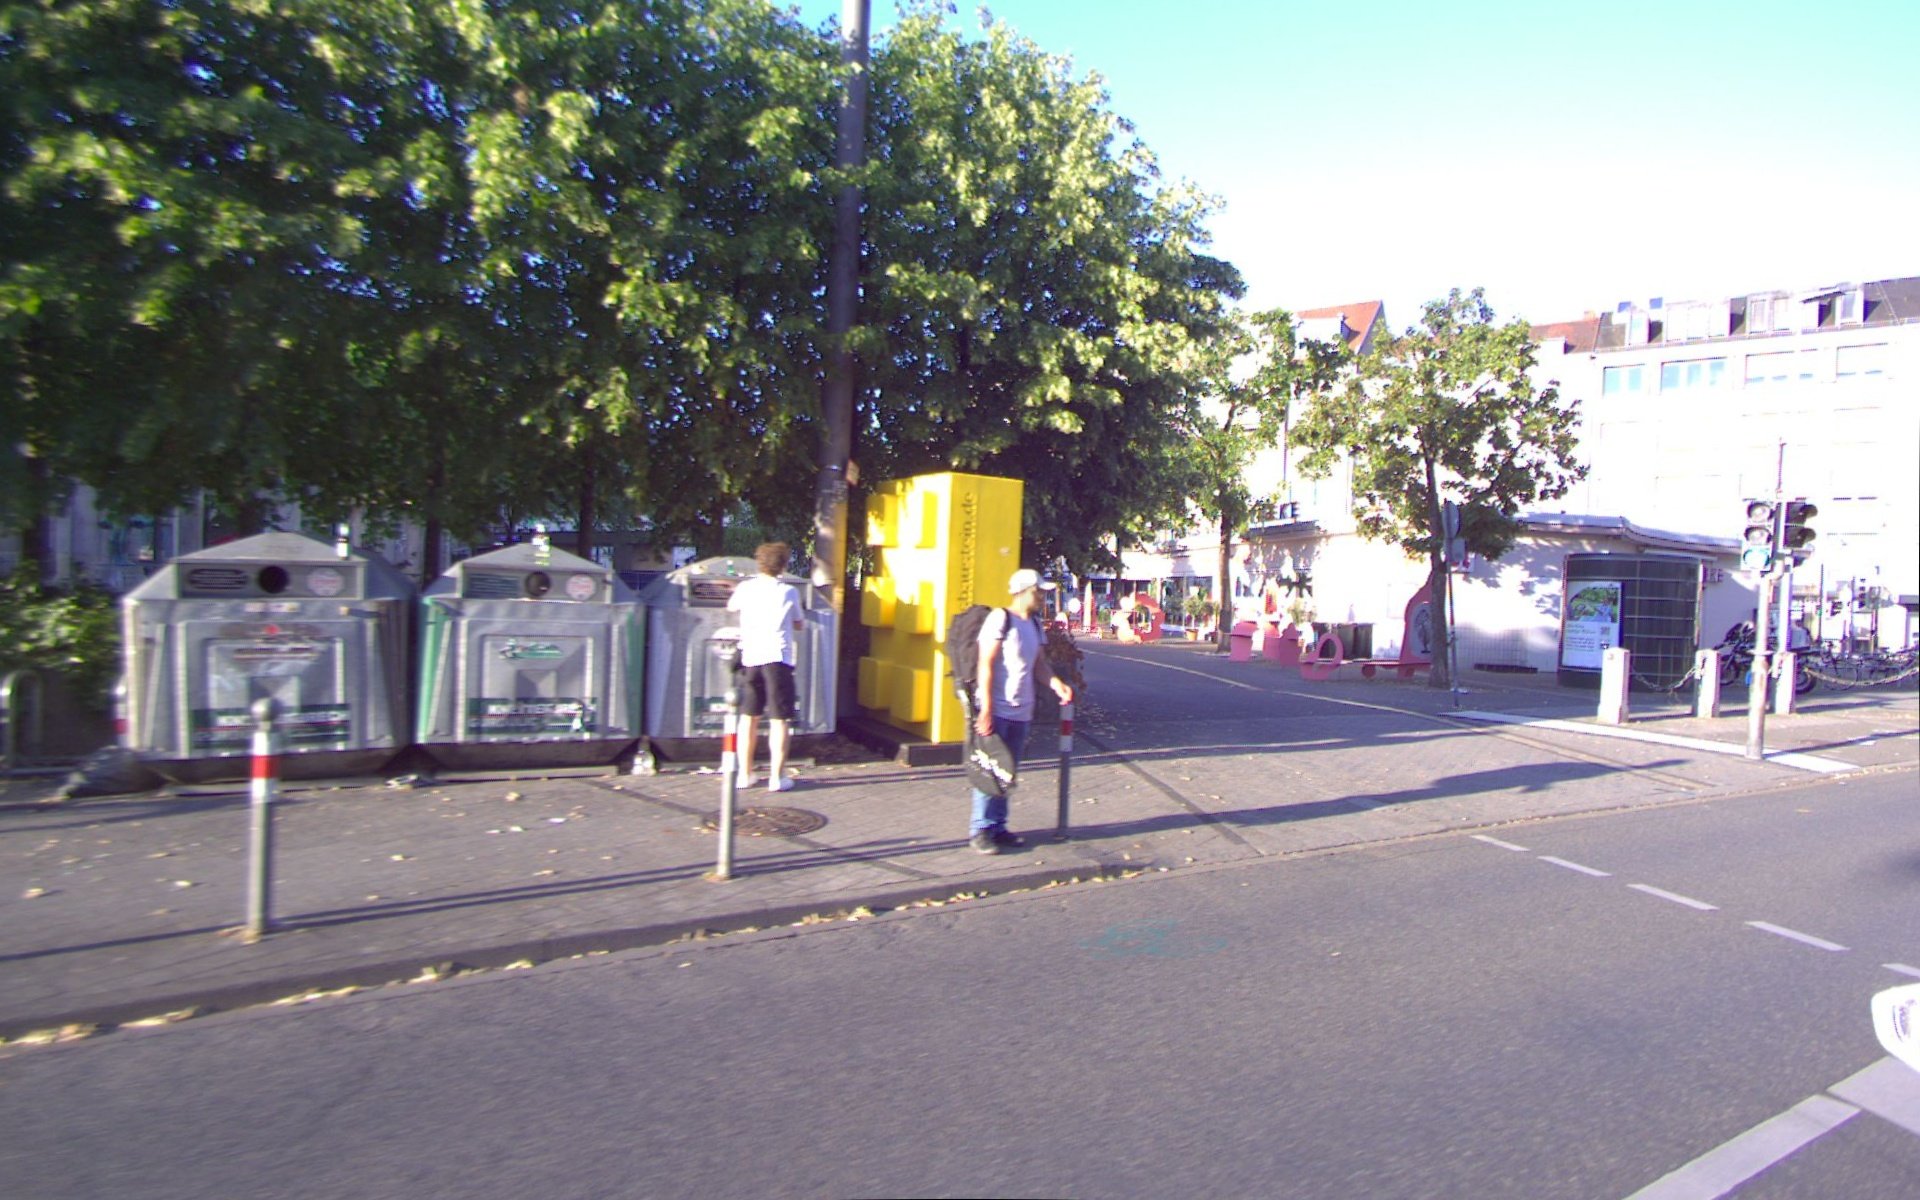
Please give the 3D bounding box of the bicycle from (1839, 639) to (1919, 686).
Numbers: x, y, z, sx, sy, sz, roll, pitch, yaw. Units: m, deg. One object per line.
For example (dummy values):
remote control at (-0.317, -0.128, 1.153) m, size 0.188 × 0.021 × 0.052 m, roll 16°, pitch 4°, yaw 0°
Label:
bicycle at (25.604, 1.713, 27.464) m, size 0.803 × 1.150 × 2.223 m, roll 2°, pitch 1°, yaw -32°

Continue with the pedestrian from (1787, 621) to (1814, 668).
pedestrian at (30.003, 1.585, 35.874) m, size 0.539 × 1.632 × 0.642 m, roll 2°, pitch 1°, yaw 26°

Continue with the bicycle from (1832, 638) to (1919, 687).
bicycle at (24.764, 1.648, 26.510) m, size 0.693 × 1.161 × 2.509 m, roll 2°, pitch 1°, yaw -32°

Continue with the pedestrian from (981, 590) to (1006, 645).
pedestrian at (1.139, 0.591, 33.691) m, size 0.695 × 1.801 × 0.897 m, roll 2°, pitch 1°, yaw 8°

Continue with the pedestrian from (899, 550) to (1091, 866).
pedestrian at (0.203, 0.587, 6.083) m, size 0.710 × 1.743 × 0.874 m, roll 1°, pitch 2°, yaw -41°

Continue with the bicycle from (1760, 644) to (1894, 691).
bicycle at (20.714, 1.599, 24.059) m, size 0.693 × 0.931 × 2.314 m, roll 2°, pitch 0°, yaw -32°

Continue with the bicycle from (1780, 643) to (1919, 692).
bicycle at (22.403, 1.668, 25.310) m, size 0.923 × 1.011 × 2.509 m, roll 2°, pitch 0°, yaw -32°

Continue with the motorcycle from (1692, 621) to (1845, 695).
motorcycle at (17.996, 1.258, 22.427) m, size 1.100 × 1.445 × 2.401 m, roll 2°, pitch 0°, yaw -30°

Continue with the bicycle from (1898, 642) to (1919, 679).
bicycle at (28.625, 1.806, 28.418) m, size 0.832 × 1.036 × 2.931 m, roll 2°, pitch 0°, yaw -27°

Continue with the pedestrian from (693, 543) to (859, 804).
pedestrian at (-1.330, 0.483, 7.265) m, size 0.857 × 1.743 × 0.757 m, roll 3°, pitch 1°, yaw 35°

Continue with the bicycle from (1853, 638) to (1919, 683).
bicycle at (26.420, 1.705, 27.861) m, size 0.790 × 1.146 × 2.313 m, roll 2°, pitch 0°, yaw -28°

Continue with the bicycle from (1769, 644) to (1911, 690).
bicycle at (21.515, 1.620, 24.635) m, size 0.693 × 0.931 × 2.509 m, roll 2°, pitch 0°, yaw -32°

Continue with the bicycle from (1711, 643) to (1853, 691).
bicycle at (19.369, 1.547, 23.746) m, size 0.693 × 0.931 × 2.509 m, roll 2°, pitch 0°, yaw -32°

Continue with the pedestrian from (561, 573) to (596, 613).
pedestrian at (-14.914, -0.272, 39.295) m, size 0.829 × 1.521 × 0.947 m, roll 2°, pitch 1°, yaw 30°

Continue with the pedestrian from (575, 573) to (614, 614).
pedestrian at (-14.095, -0.255, 38.774) m, size 0.963 × 1.521 × 0.988 m, roll 2°, pitch 1°, yaw 28°
